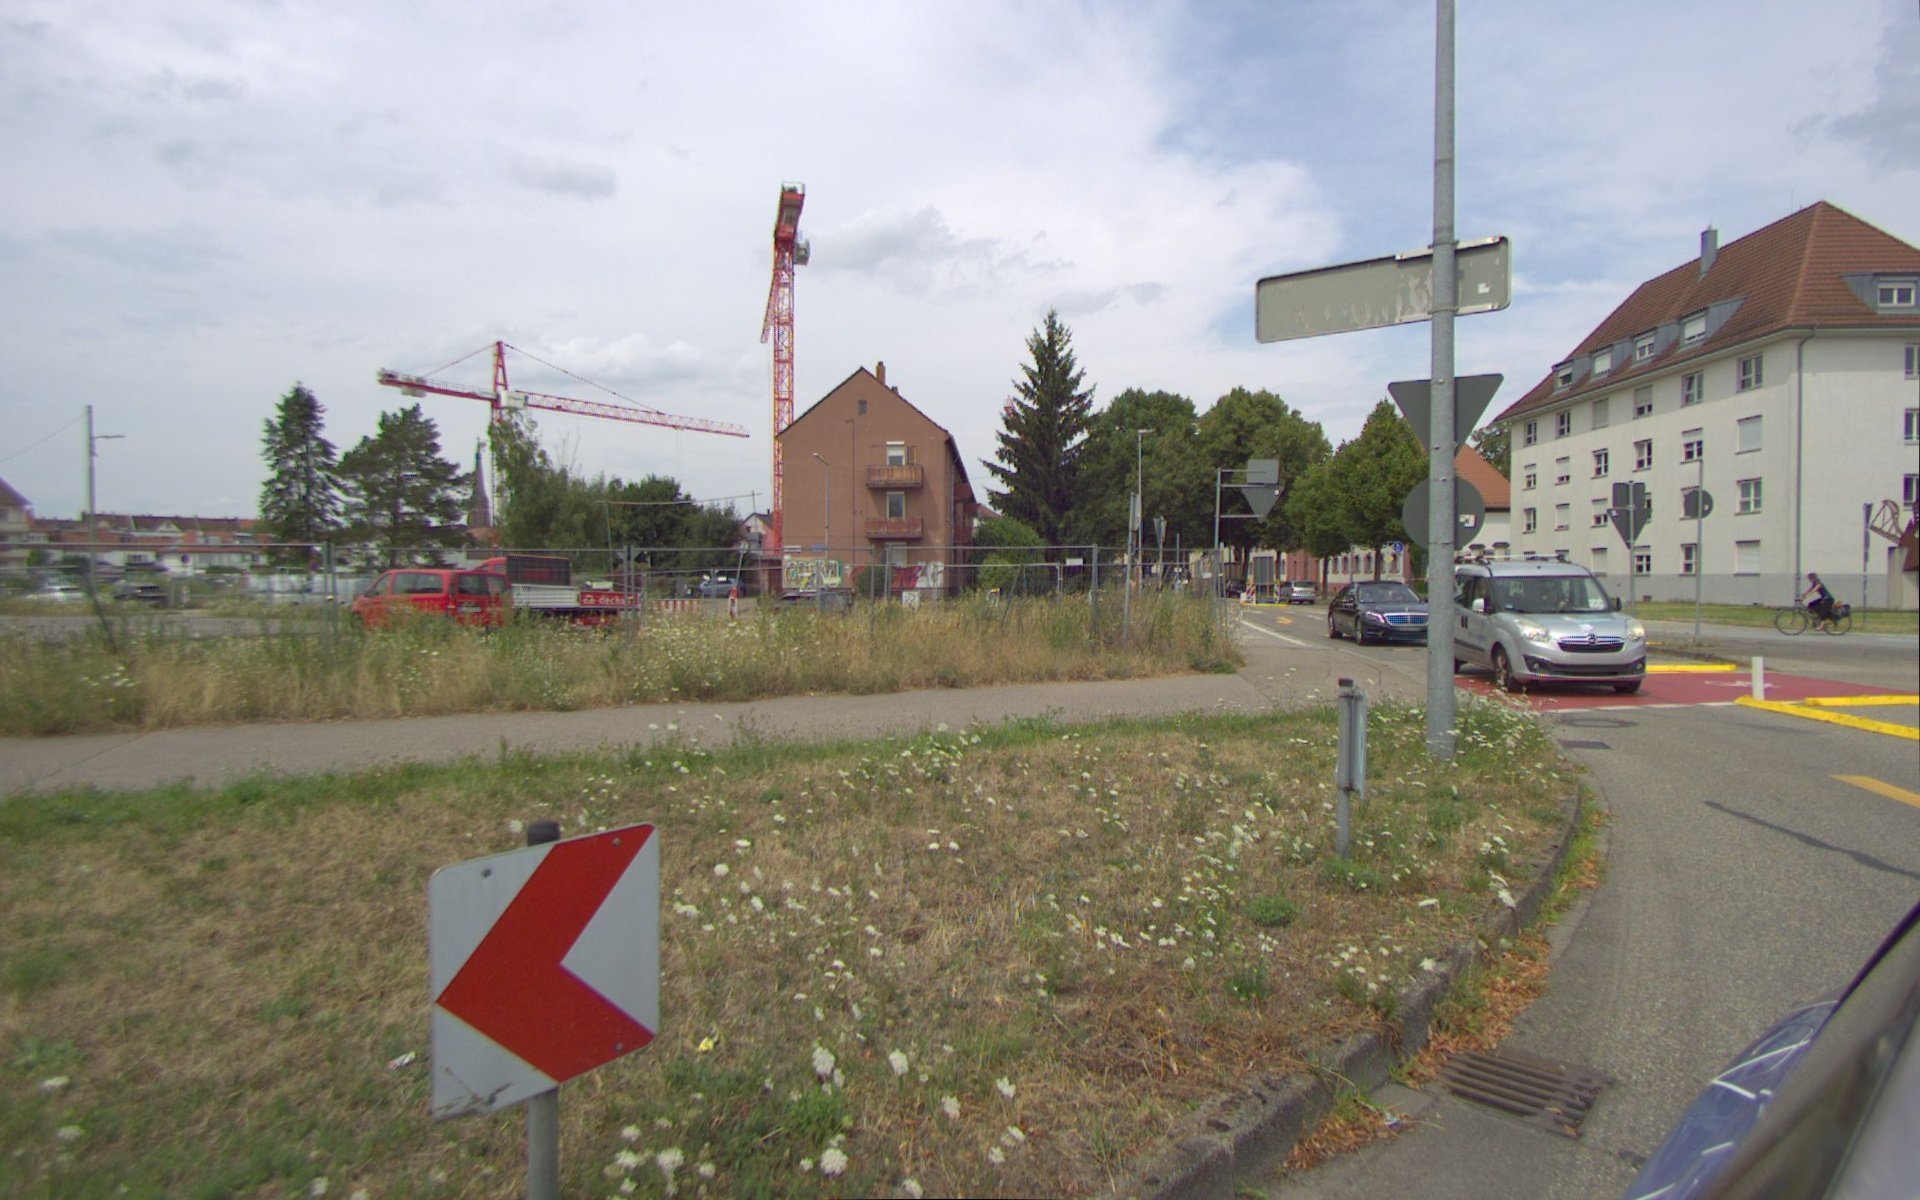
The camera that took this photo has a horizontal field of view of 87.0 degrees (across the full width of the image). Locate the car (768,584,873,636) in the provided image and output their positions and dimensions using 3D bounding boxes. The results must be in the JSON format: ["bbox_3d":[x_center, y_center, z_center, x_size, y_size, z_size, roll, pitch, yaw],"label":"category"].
[{"bbox_3d":[-4.313,0.259,31.961,1.742,1.491,4.238,0,2,16],"label":"car"}]

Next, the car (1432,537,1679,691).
[{"bbox_3d":[8.721,0.112,15.322,1.782,1.971,4.570,0,2,11],"label":"car"}]

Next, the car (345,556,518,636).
[{"bbox_3d":[-13.934,-0.096,26.566,4.954,1.935,1.913,0,-1,34],"label":"car"}]

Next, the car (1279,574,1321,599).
[{"bbox_3d":[21.227,-0.863,63.315,1.600,1.538,4.212,0,1,6],"label":"car"}]

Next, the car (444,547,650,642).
[{"bbox_3d":[-11.799,-0.206,28.680,6.501,2.442,2.290,1,2,36],"label":"car"}]

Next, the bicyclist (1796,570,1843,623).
[{"bbox_3d":[23.860,-0.108,28.101,0.790,1.441,0.600,0,1,11],"label":"bicyclist"}]

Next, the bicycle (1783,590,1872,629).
[{"bbox_3d":[24.038,0.265,28.071,1.800,1.059,0.600,0,1,11],"label":"bicycle"}]

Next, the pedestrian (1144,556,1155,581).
[{"bbox_3d":[15.179,-2.510,81.226,0.842,2.039,0.730,0,1,9],"label":"pedestrian"}]

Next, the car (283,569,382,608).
[{"bbox_3d":[-35.770,-0.679,57.752,4.841,2.162,2.137,0,1,16],"label":"car"}]

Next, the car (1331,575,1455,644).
[{"bbox_3d":[10.547,0.171,25.017,1.790,1.523,4.854,0,1,11],"label":"car"}]
